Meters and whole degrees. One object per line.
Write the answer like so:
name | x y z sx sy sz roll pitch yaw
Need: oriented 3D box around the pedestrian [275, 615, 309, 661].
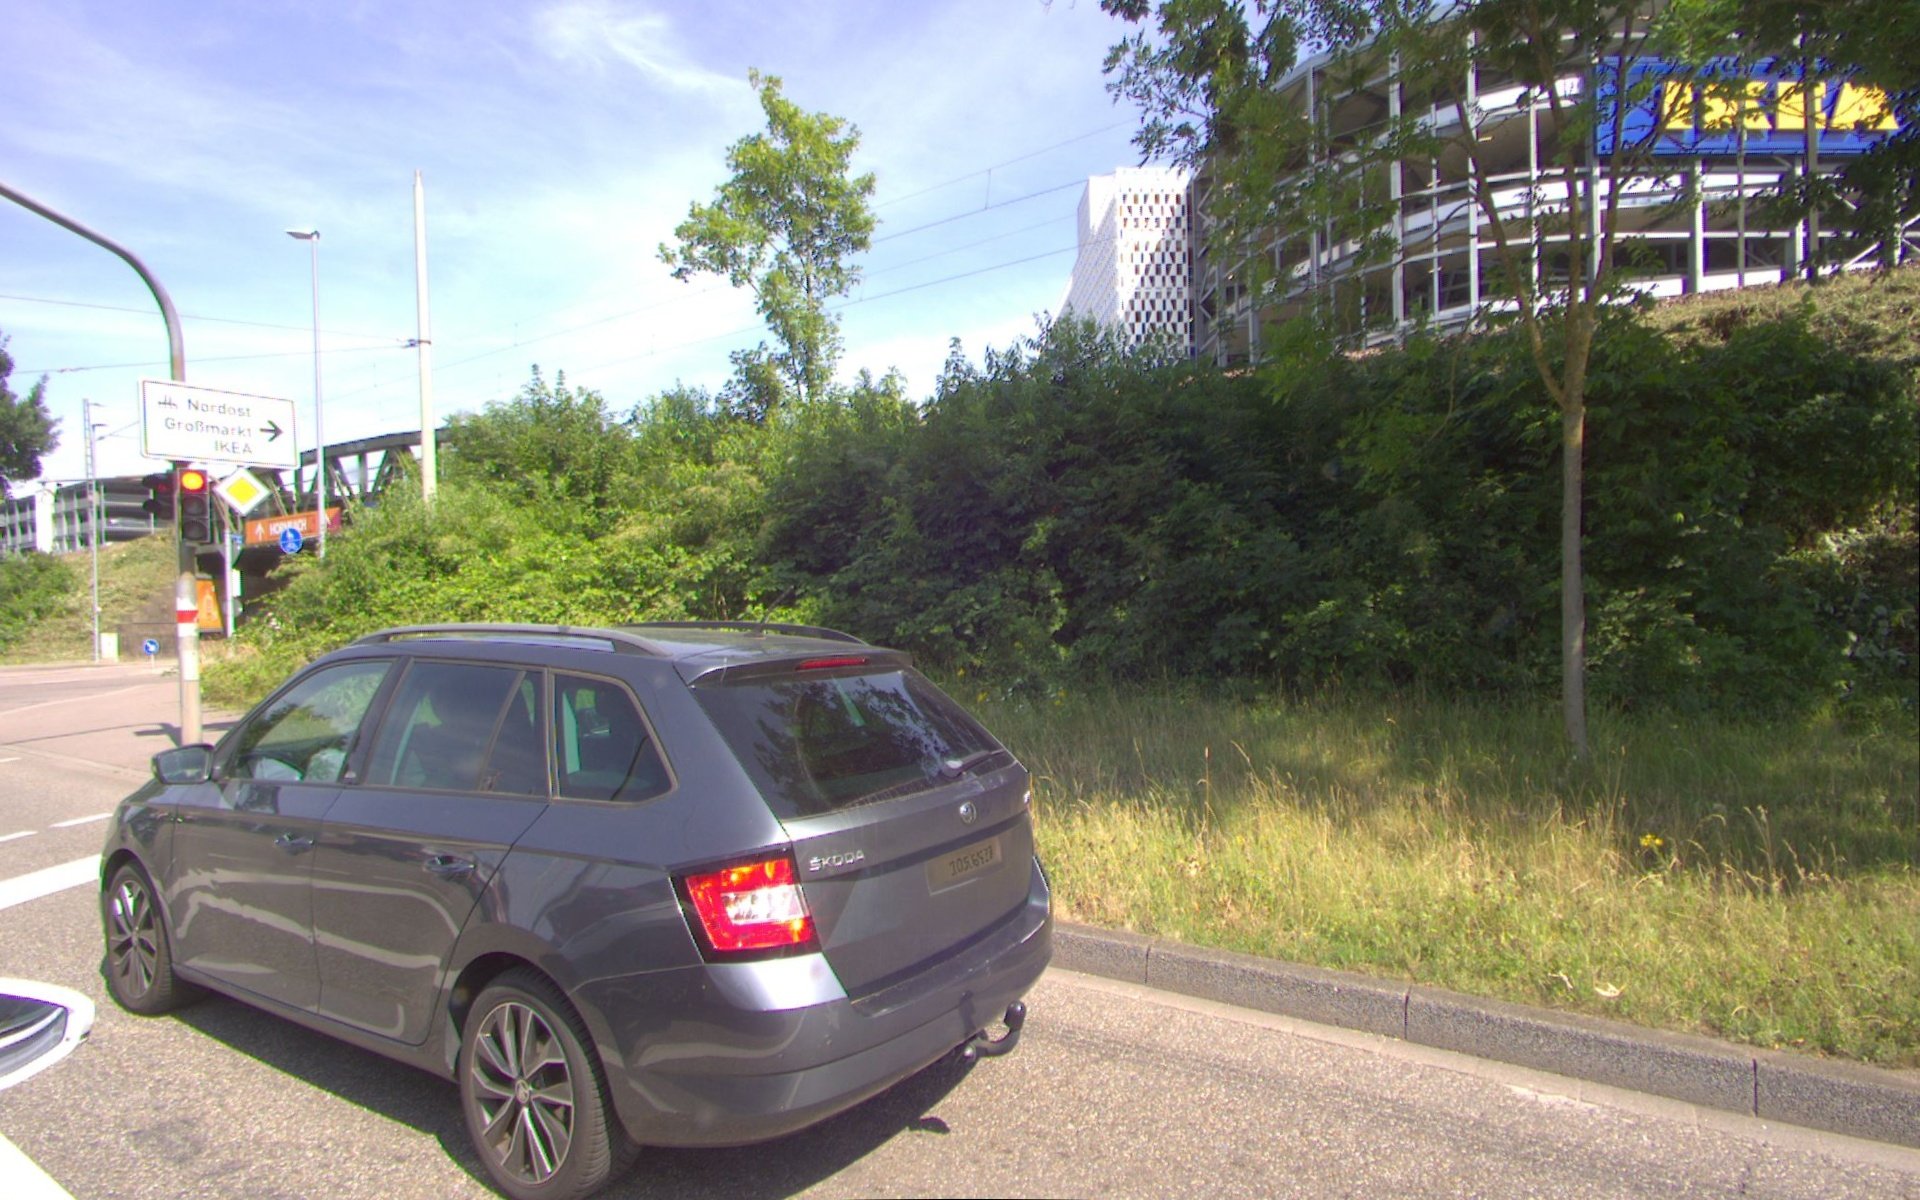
pedestrian | -23.601 1.322 35.360 0.766 1.600 0.728 -1 0 32

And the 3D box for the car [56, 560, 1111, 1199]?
car | -1.601 0.711 3.773 3.978 1.472 1.671 -1 -2 32

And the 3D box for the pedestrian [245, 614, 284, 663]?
pedestrian | -23.985 1.321 34.552 0.766 1.633 0.866 -1 0 32
